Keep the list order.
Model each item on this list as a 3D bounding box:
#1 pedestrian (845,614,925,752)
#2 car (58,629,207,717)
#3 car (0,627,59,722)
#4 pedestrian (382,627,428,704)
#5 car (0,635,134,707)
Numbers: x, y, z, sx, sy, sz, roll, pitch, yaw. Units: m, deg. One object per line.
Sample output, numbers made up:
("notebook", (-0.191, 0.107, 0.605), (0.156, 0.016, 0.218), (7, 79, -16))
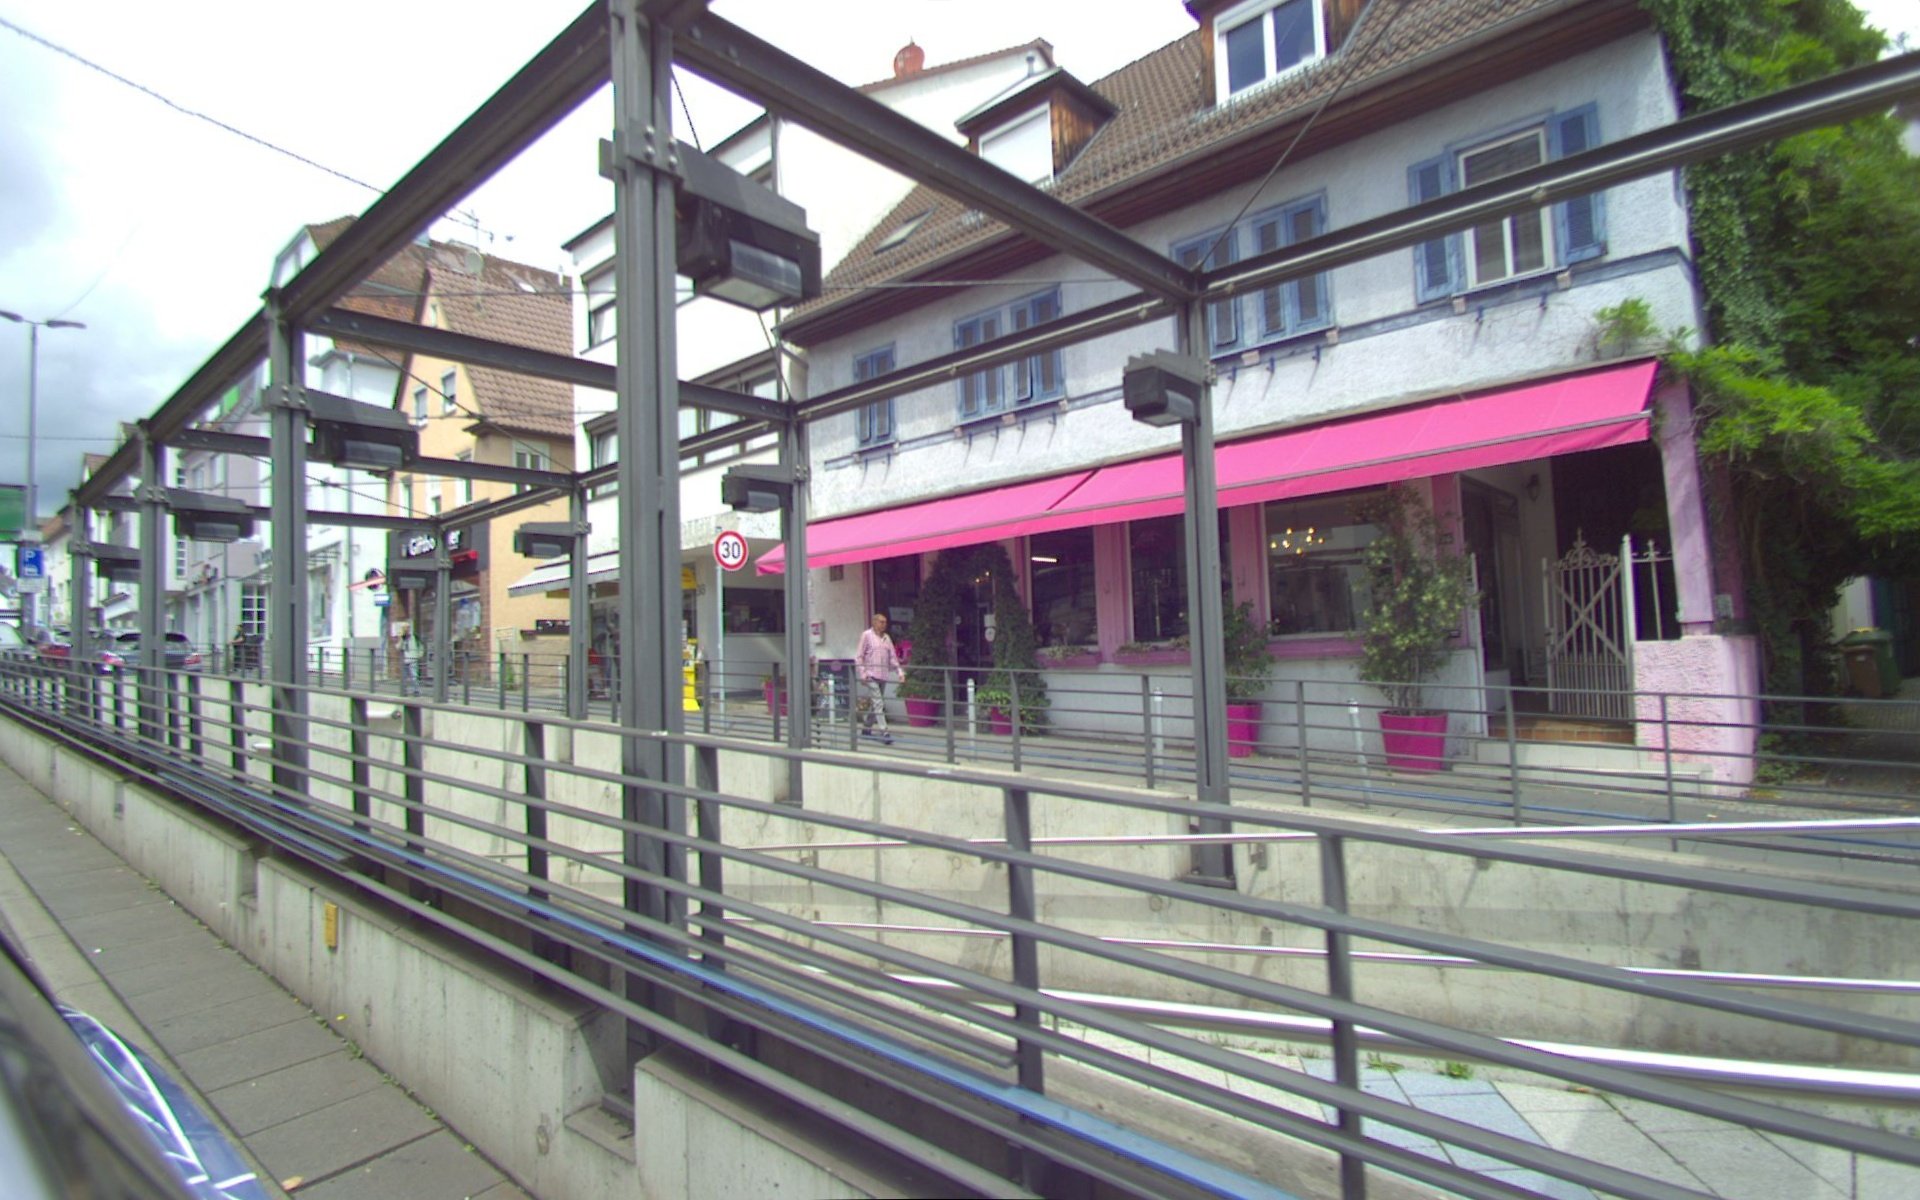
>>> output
("pedestrian", (-0.993, 1.078, 13.392), (0.824, 1.753, 0.686), (-3, -4, 43))
("car", (-16.597, 1.395, 20.248), (3.896, 1.559, 1.681), (-2, -1, 41))
("car", (-17.900, 1.322, 18.137), (4.427, 1.578, 1.974), (-2, -1, 39))
("pedestrian", (-12.838, 1.502, 23.415), (0.663, 1.727, 0.739), (-2, -3, 41))
("car", (-21.972, 1.692, 24.754), (4.492, 1.601, 1.973), (-2, -4, 41))
